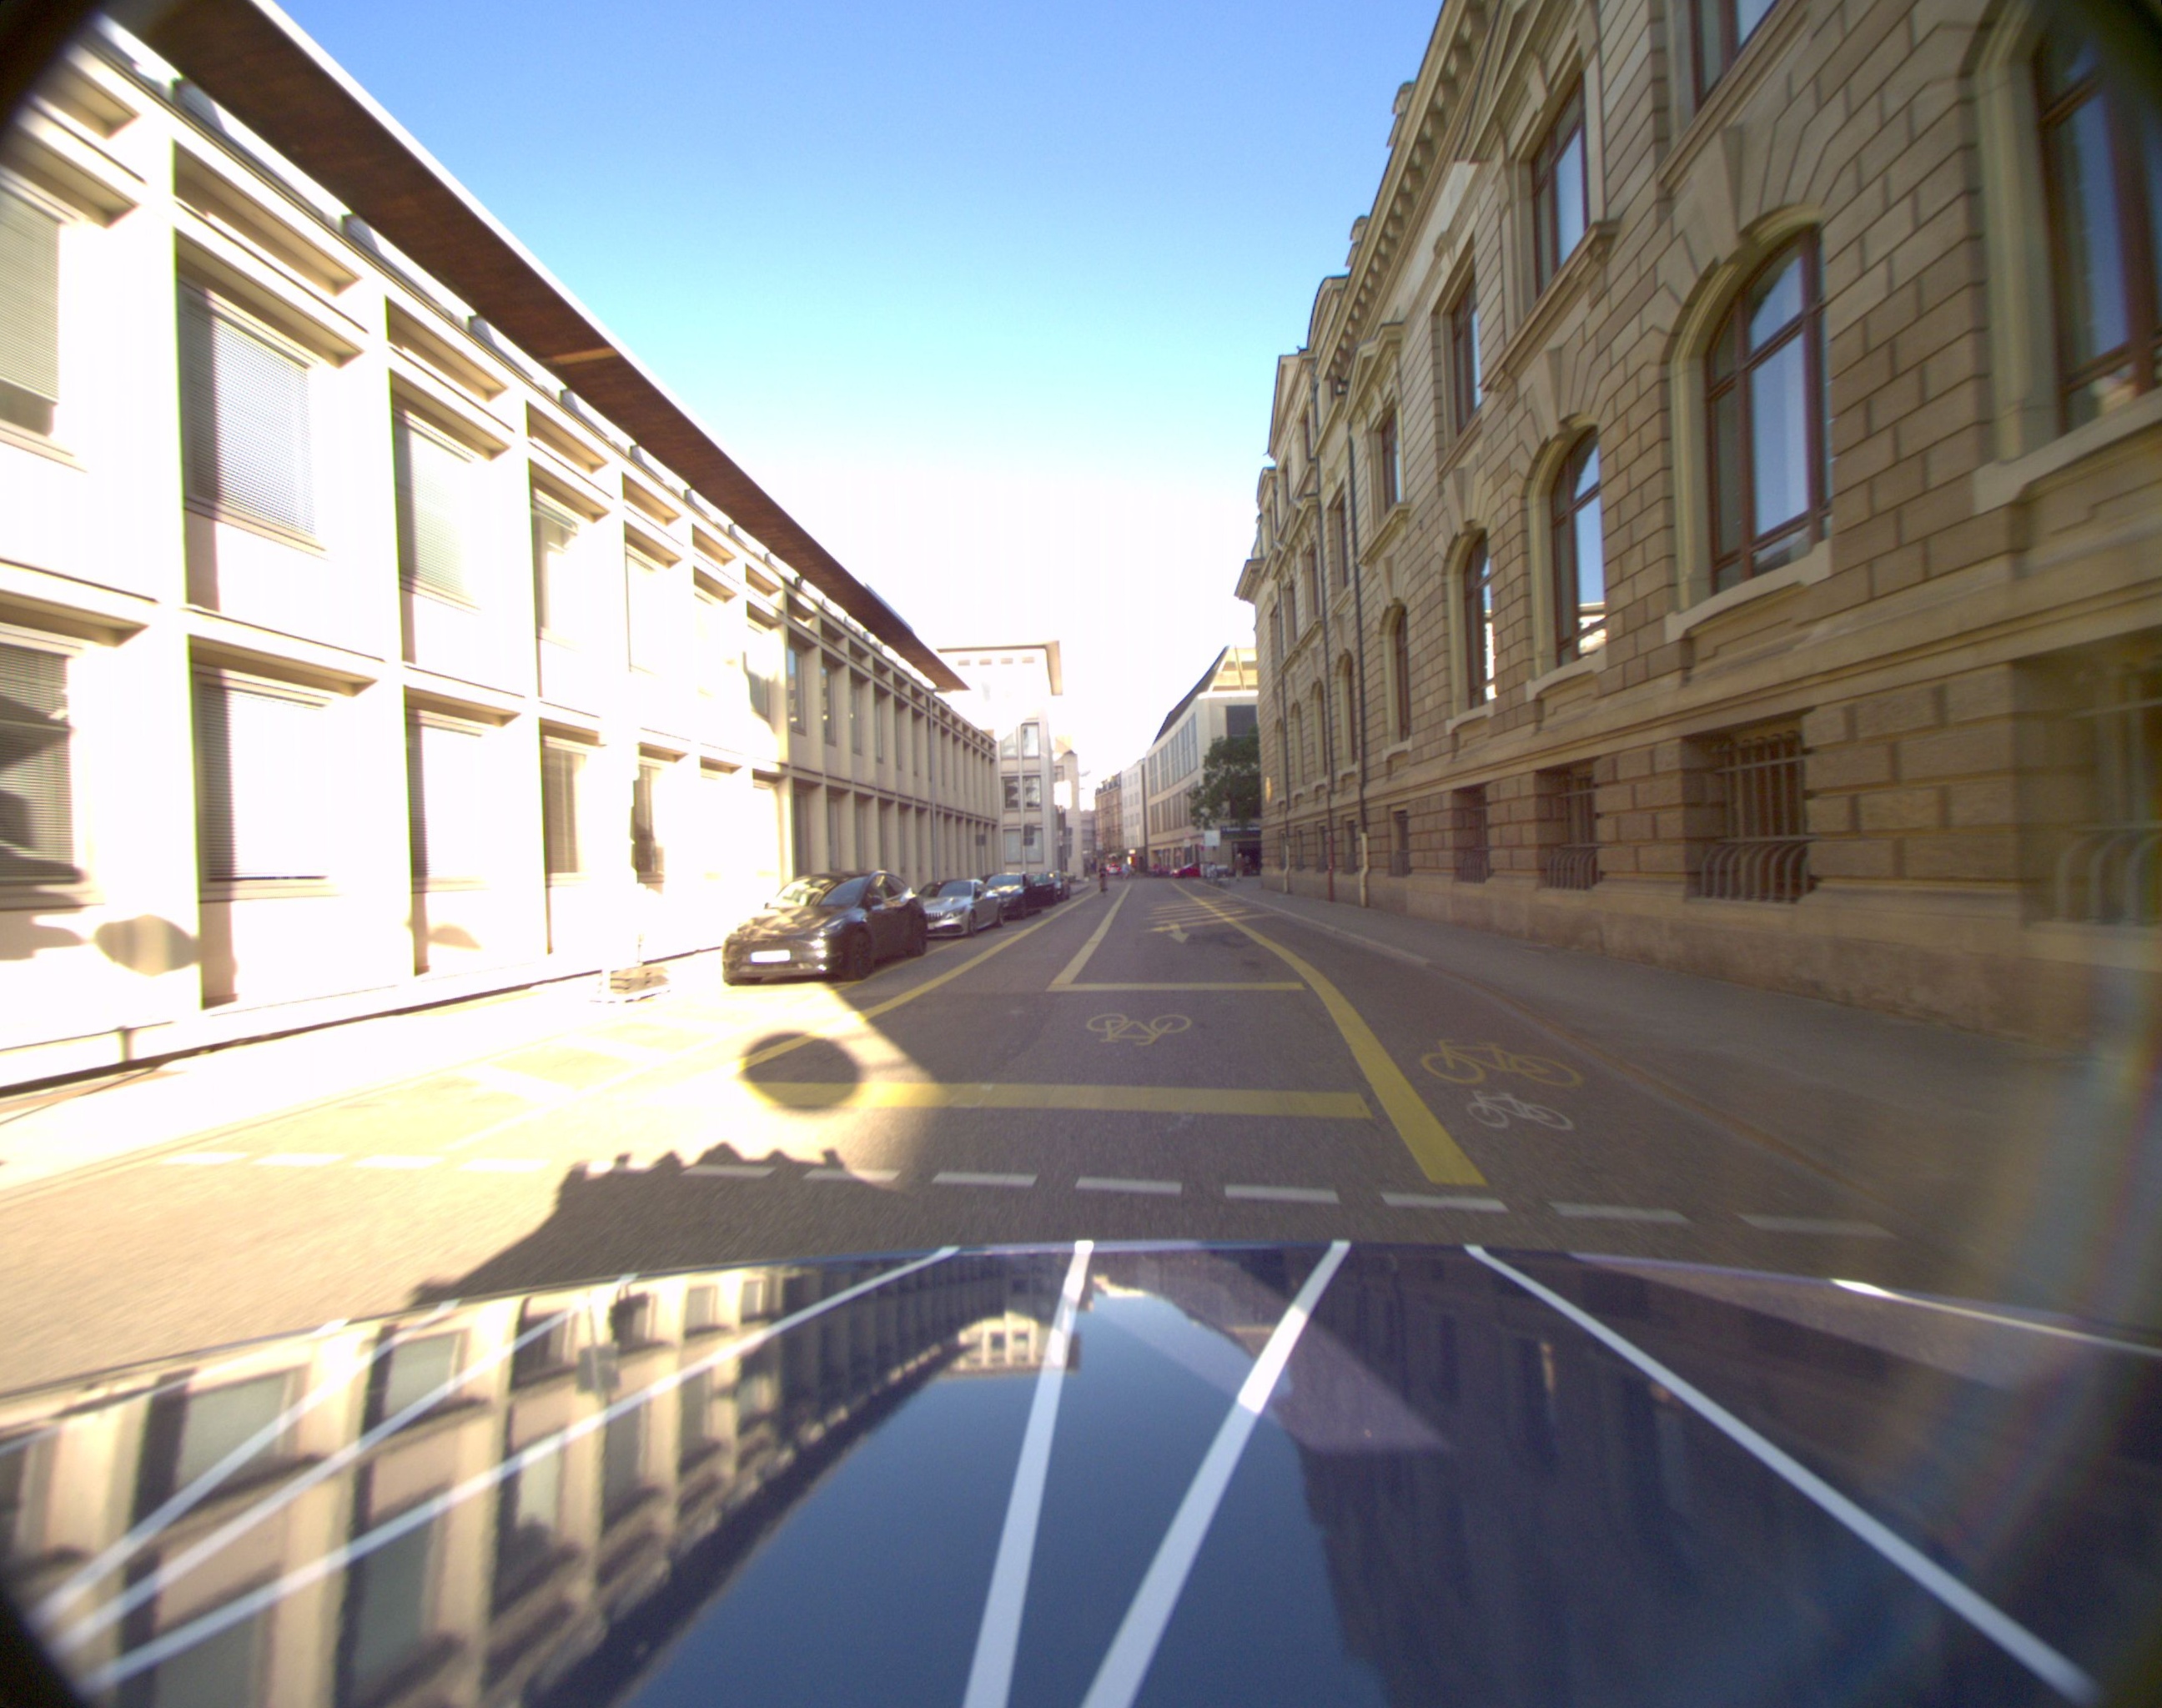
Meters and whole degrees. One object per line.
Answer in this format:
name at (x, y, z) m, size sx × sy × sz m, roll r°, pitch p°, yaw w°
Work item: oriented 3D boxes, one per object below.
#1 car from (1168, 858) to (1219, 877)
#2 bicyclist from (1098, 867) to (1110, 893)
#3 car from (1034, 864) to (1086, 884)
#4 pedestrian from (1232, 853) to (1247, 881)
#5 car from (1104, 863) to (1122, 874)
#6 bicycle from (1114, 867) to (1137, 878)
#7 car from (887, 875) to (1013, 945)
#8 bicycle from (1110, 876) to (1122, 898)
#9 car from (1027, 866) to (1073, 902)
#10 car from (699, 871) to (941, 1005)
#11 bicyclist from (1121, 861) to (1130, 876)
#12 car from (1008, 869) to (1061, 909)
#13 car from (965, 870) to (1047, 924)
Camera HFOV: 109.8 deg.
car at (10.188, 1.231, 69.184) m, size 4.271 × 1.462 × 1.632 m, roll -3°, pitch 0°, yaw -7°
bicyclist at (1.192, 1.329, 38.764) m, size 0.538 × 1.280 × 0.551 m, roll -3°, pitch 0°, yaw 4°
car at (-1.787, 1.725, 65.734) m, size 4.249 × 1.482 × 1.856 m, roll -3°, pitch 0°, yaw 5°
pedestrian at (10.180, 0.846, 48.761) m, size 0.765 × 1.769 × 0.622 m, roll -3°, pitch 0°, yaw 6°
car at (4.742, 2.124, 113.404) m, size 2.055 × 1.482 × 4.269 m, roll -3°, pitch 0°, yaw -6°
bicycle at (3.857, 1.593, 65.625) m, size 1.870 × 0.905 × 0.535 m, roll -3°, pitch 3°, yaw 9°
car at (-3.090, 1.305, 18.982) m, size 1.700 × 1.336 × 4.601 m, roll -3°, pitch 0°, yaw 8°
bicycle at (1.767, 1.680, 38.594) m, size 0.535 × 1.060 × 1.426 m, roll -3°, pitch 0°, yaw 3°
car at (-1.412, 1.389, 36.594) m, size 1.697 × 1.482 × 4.256 m, roll -3°, pitch 0°, yaw 4°
car at (-3.903, 1.172, 12.394) m, size 1.898 × 1.614 × 4.623 m, roll -3°, pitch 0°, yaw 6°
bicyclist at (3.844, 1.246, 65.615) m, size 0.612 × 1.280 × 0.539 m, roll -3°, pitch 0°, yaw 11°
car at (-1.810, 1.364, 30.916) m, size 1.631 × 1.391 × 3.887 m, roll -3°, pitch 0°, yaw 3°
car at (-2.338, 1.323, 24.907) m, size 1.700 × 1.461 × 4.794 m, roll -3°, pitch 0°, yaw 5°
